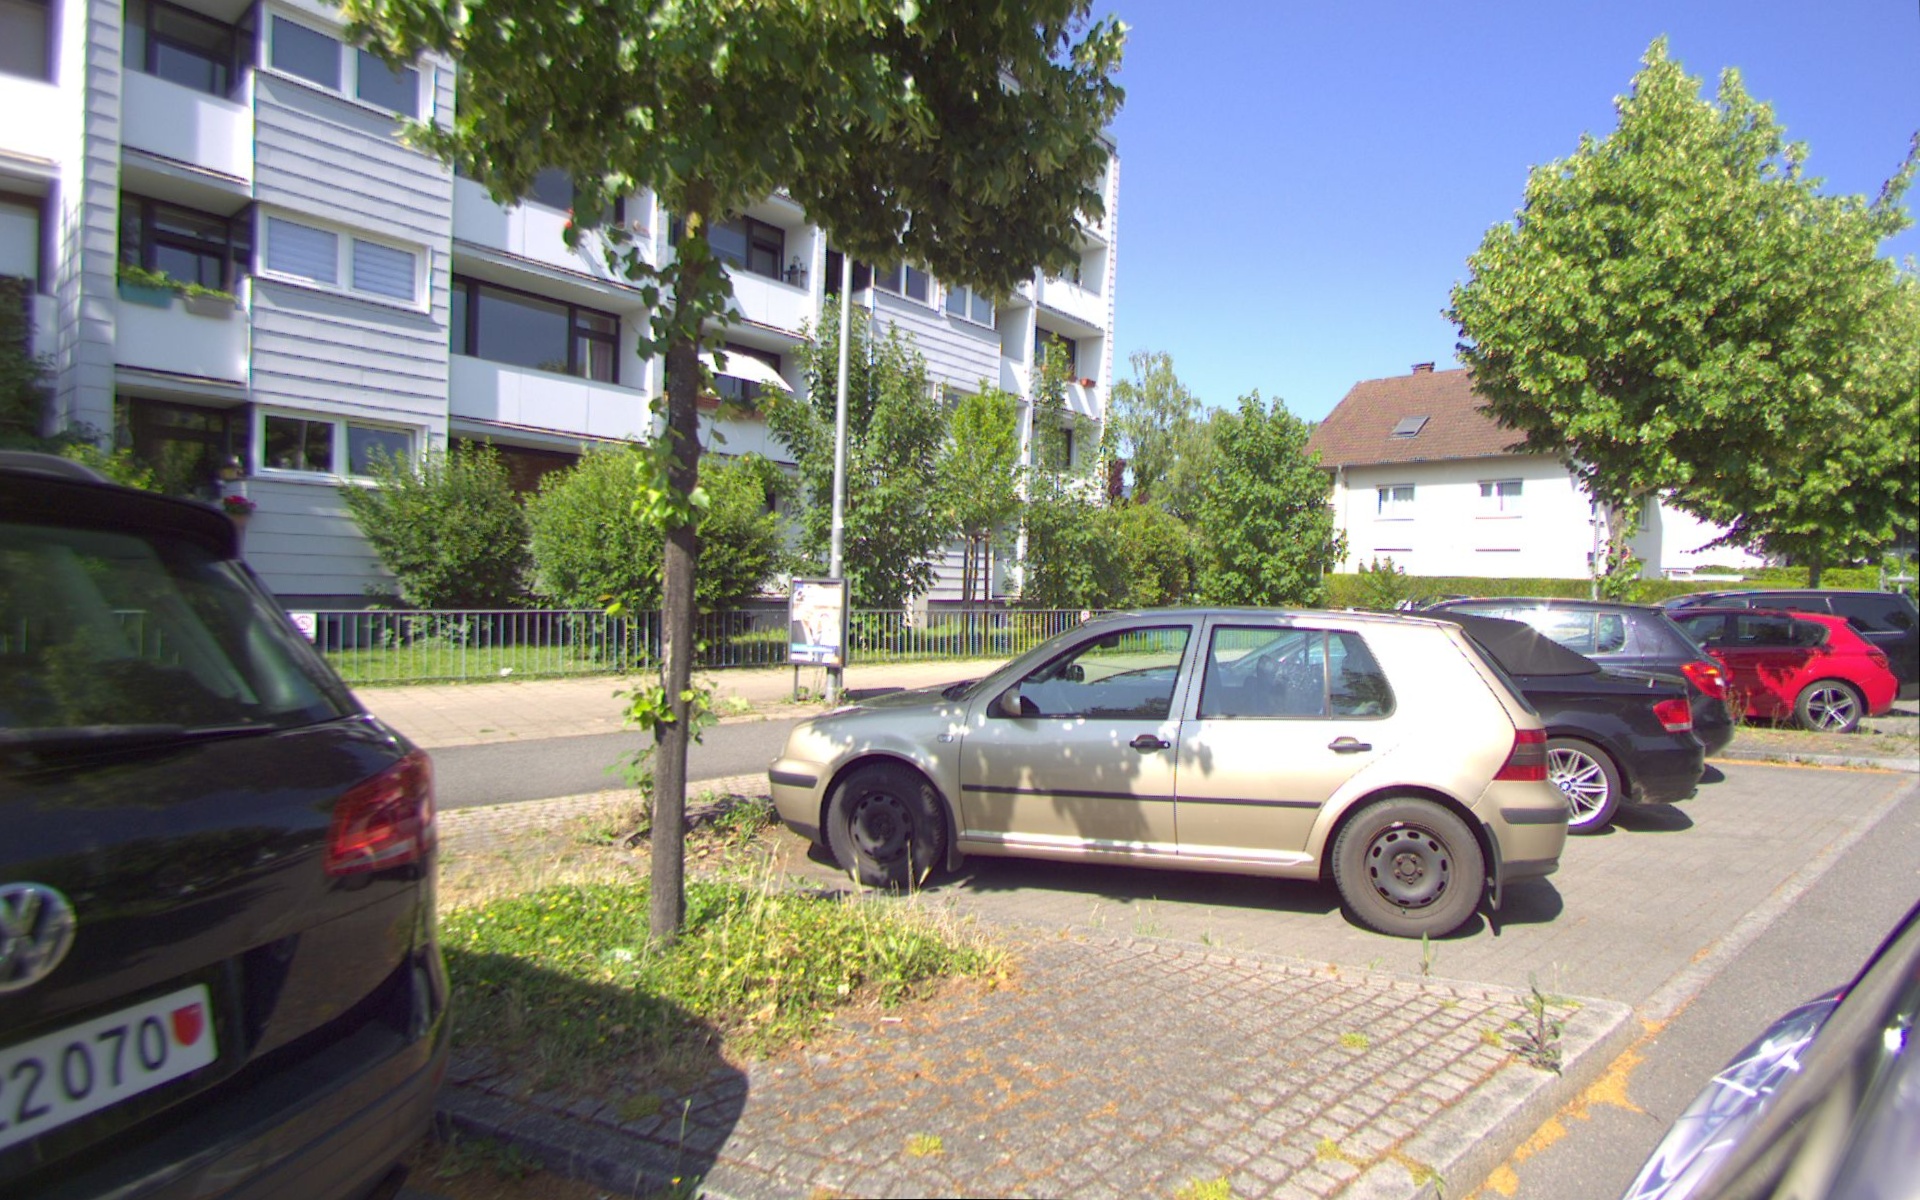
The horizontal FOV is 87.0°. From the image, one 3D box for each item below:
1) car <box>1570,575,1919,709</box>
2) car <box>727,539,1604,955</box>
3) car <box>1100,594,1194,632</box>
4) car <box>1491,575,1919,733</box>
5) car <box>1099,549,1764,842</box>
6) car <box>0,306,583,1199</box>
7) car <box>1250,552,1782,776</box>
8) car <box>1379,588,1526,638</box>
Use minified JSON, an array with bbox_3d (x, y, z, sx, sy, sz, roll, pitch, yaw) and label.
[{"bbox_3d":[11.396,0.524,14.524,4.064,1.660,2.034,2,1,17],"label":"car"},{"bbox_3d":[0.934,0.560,5.529,3.943,1.660,1.745,2,1,15],"label":"car"},{"bbox_3d":[8.359,0.566,45.469,1.619,1.473,3.995,1,1,-41],"label":"car"},{"bbox_3d":[9.021,0.559,12.581,3.946,1.660,1.871,2,2,17],"label":"car"},{"bbox_3d":[3.191,0.525,7.517,3.954,1.660,1.740,2,0,22],"label":"car"},{"bbox_3d":[-3.203,0.462,1.880,4.687,1.681,1.742,2,1,20],"label":"car"},{"bbox_3d":[4.955,0.431,9.477,3.968,1.660,1.781,2,1,31],"label":"car"},{"bbox_3d":[16.775,0.405,34.614,1.778,1.415,4.125,4,0,-40],"label":"car"}]
